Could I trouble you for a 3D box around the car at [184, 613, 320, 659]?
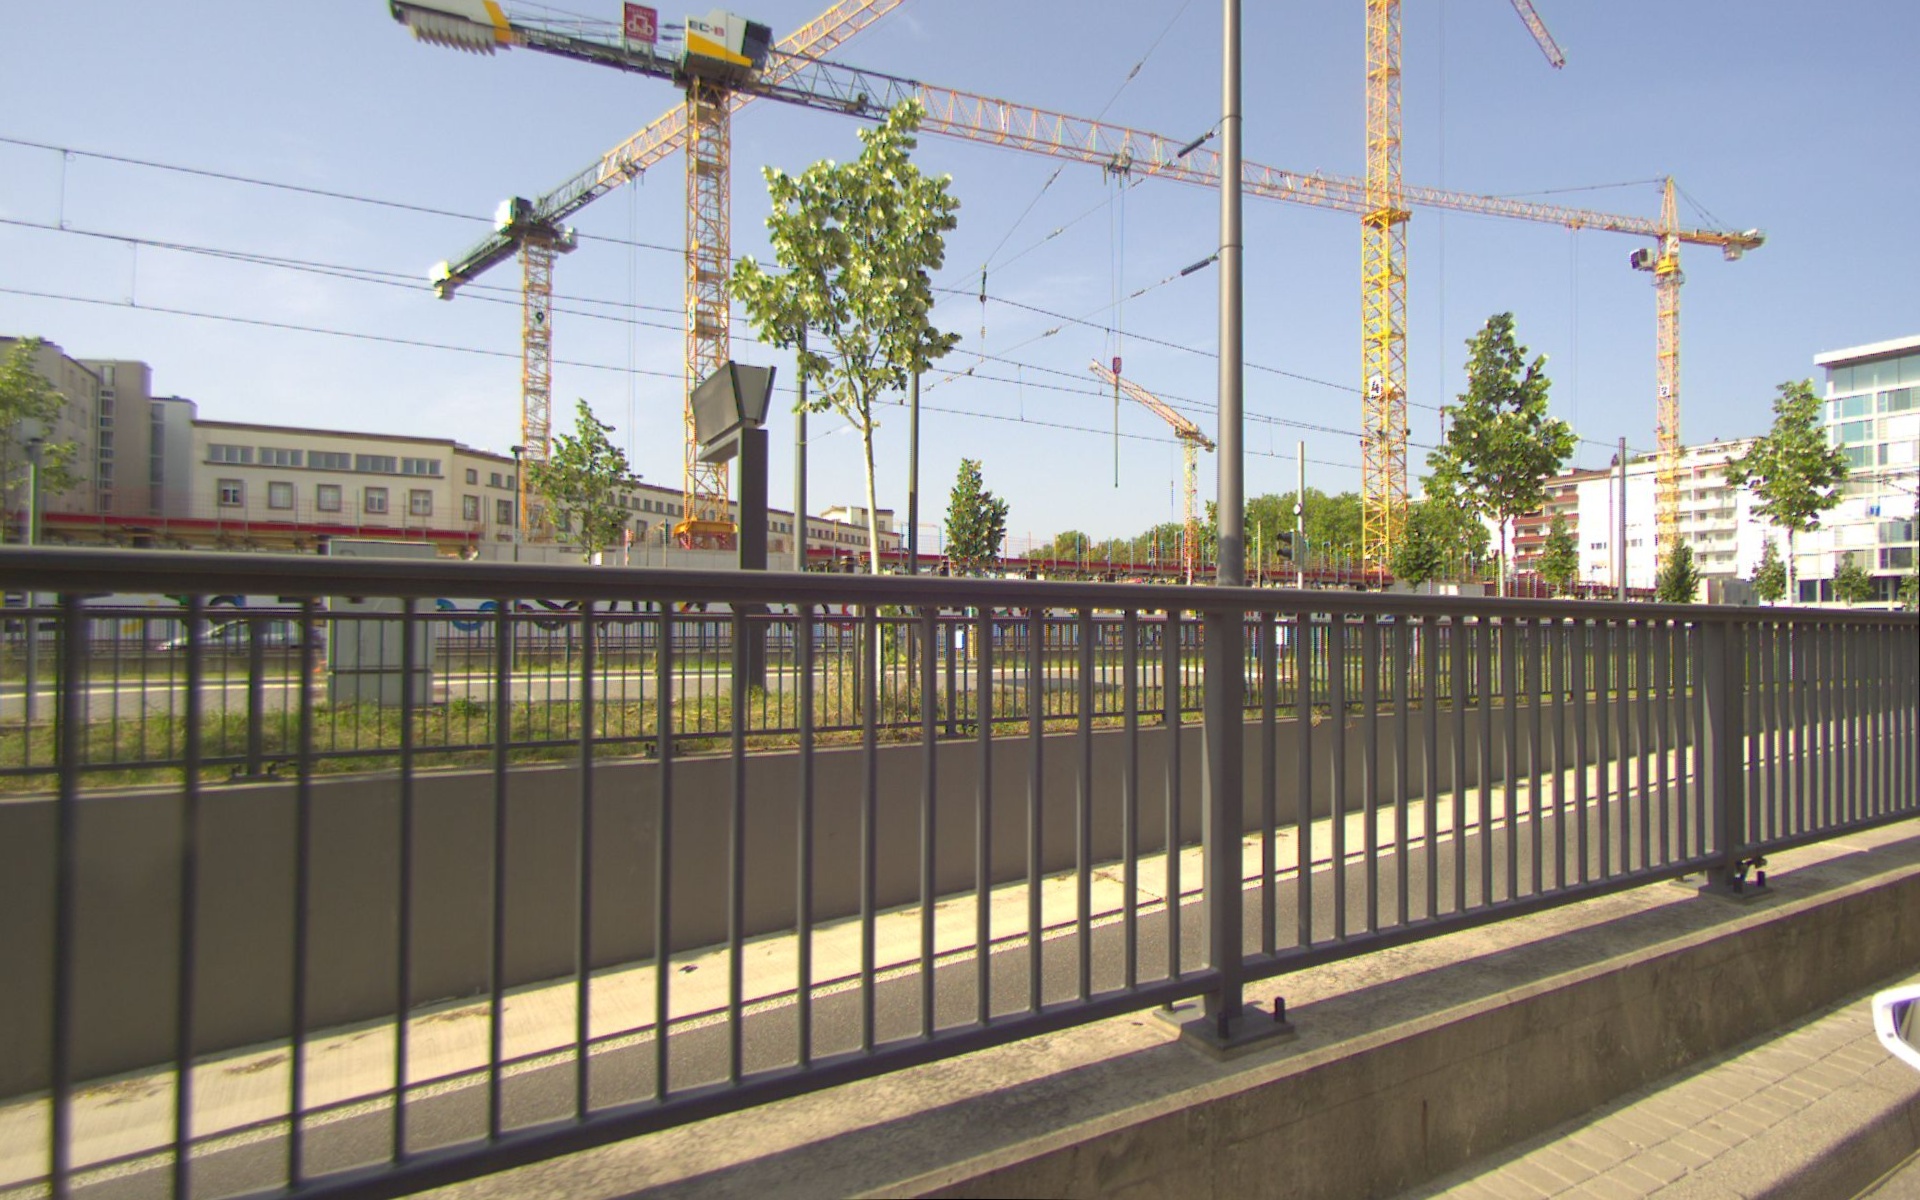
[{"bbox_3d":[-19.544,0.983,27.856,2.926,1.218,1.493,1,-1,-31],"label":"car"}]
